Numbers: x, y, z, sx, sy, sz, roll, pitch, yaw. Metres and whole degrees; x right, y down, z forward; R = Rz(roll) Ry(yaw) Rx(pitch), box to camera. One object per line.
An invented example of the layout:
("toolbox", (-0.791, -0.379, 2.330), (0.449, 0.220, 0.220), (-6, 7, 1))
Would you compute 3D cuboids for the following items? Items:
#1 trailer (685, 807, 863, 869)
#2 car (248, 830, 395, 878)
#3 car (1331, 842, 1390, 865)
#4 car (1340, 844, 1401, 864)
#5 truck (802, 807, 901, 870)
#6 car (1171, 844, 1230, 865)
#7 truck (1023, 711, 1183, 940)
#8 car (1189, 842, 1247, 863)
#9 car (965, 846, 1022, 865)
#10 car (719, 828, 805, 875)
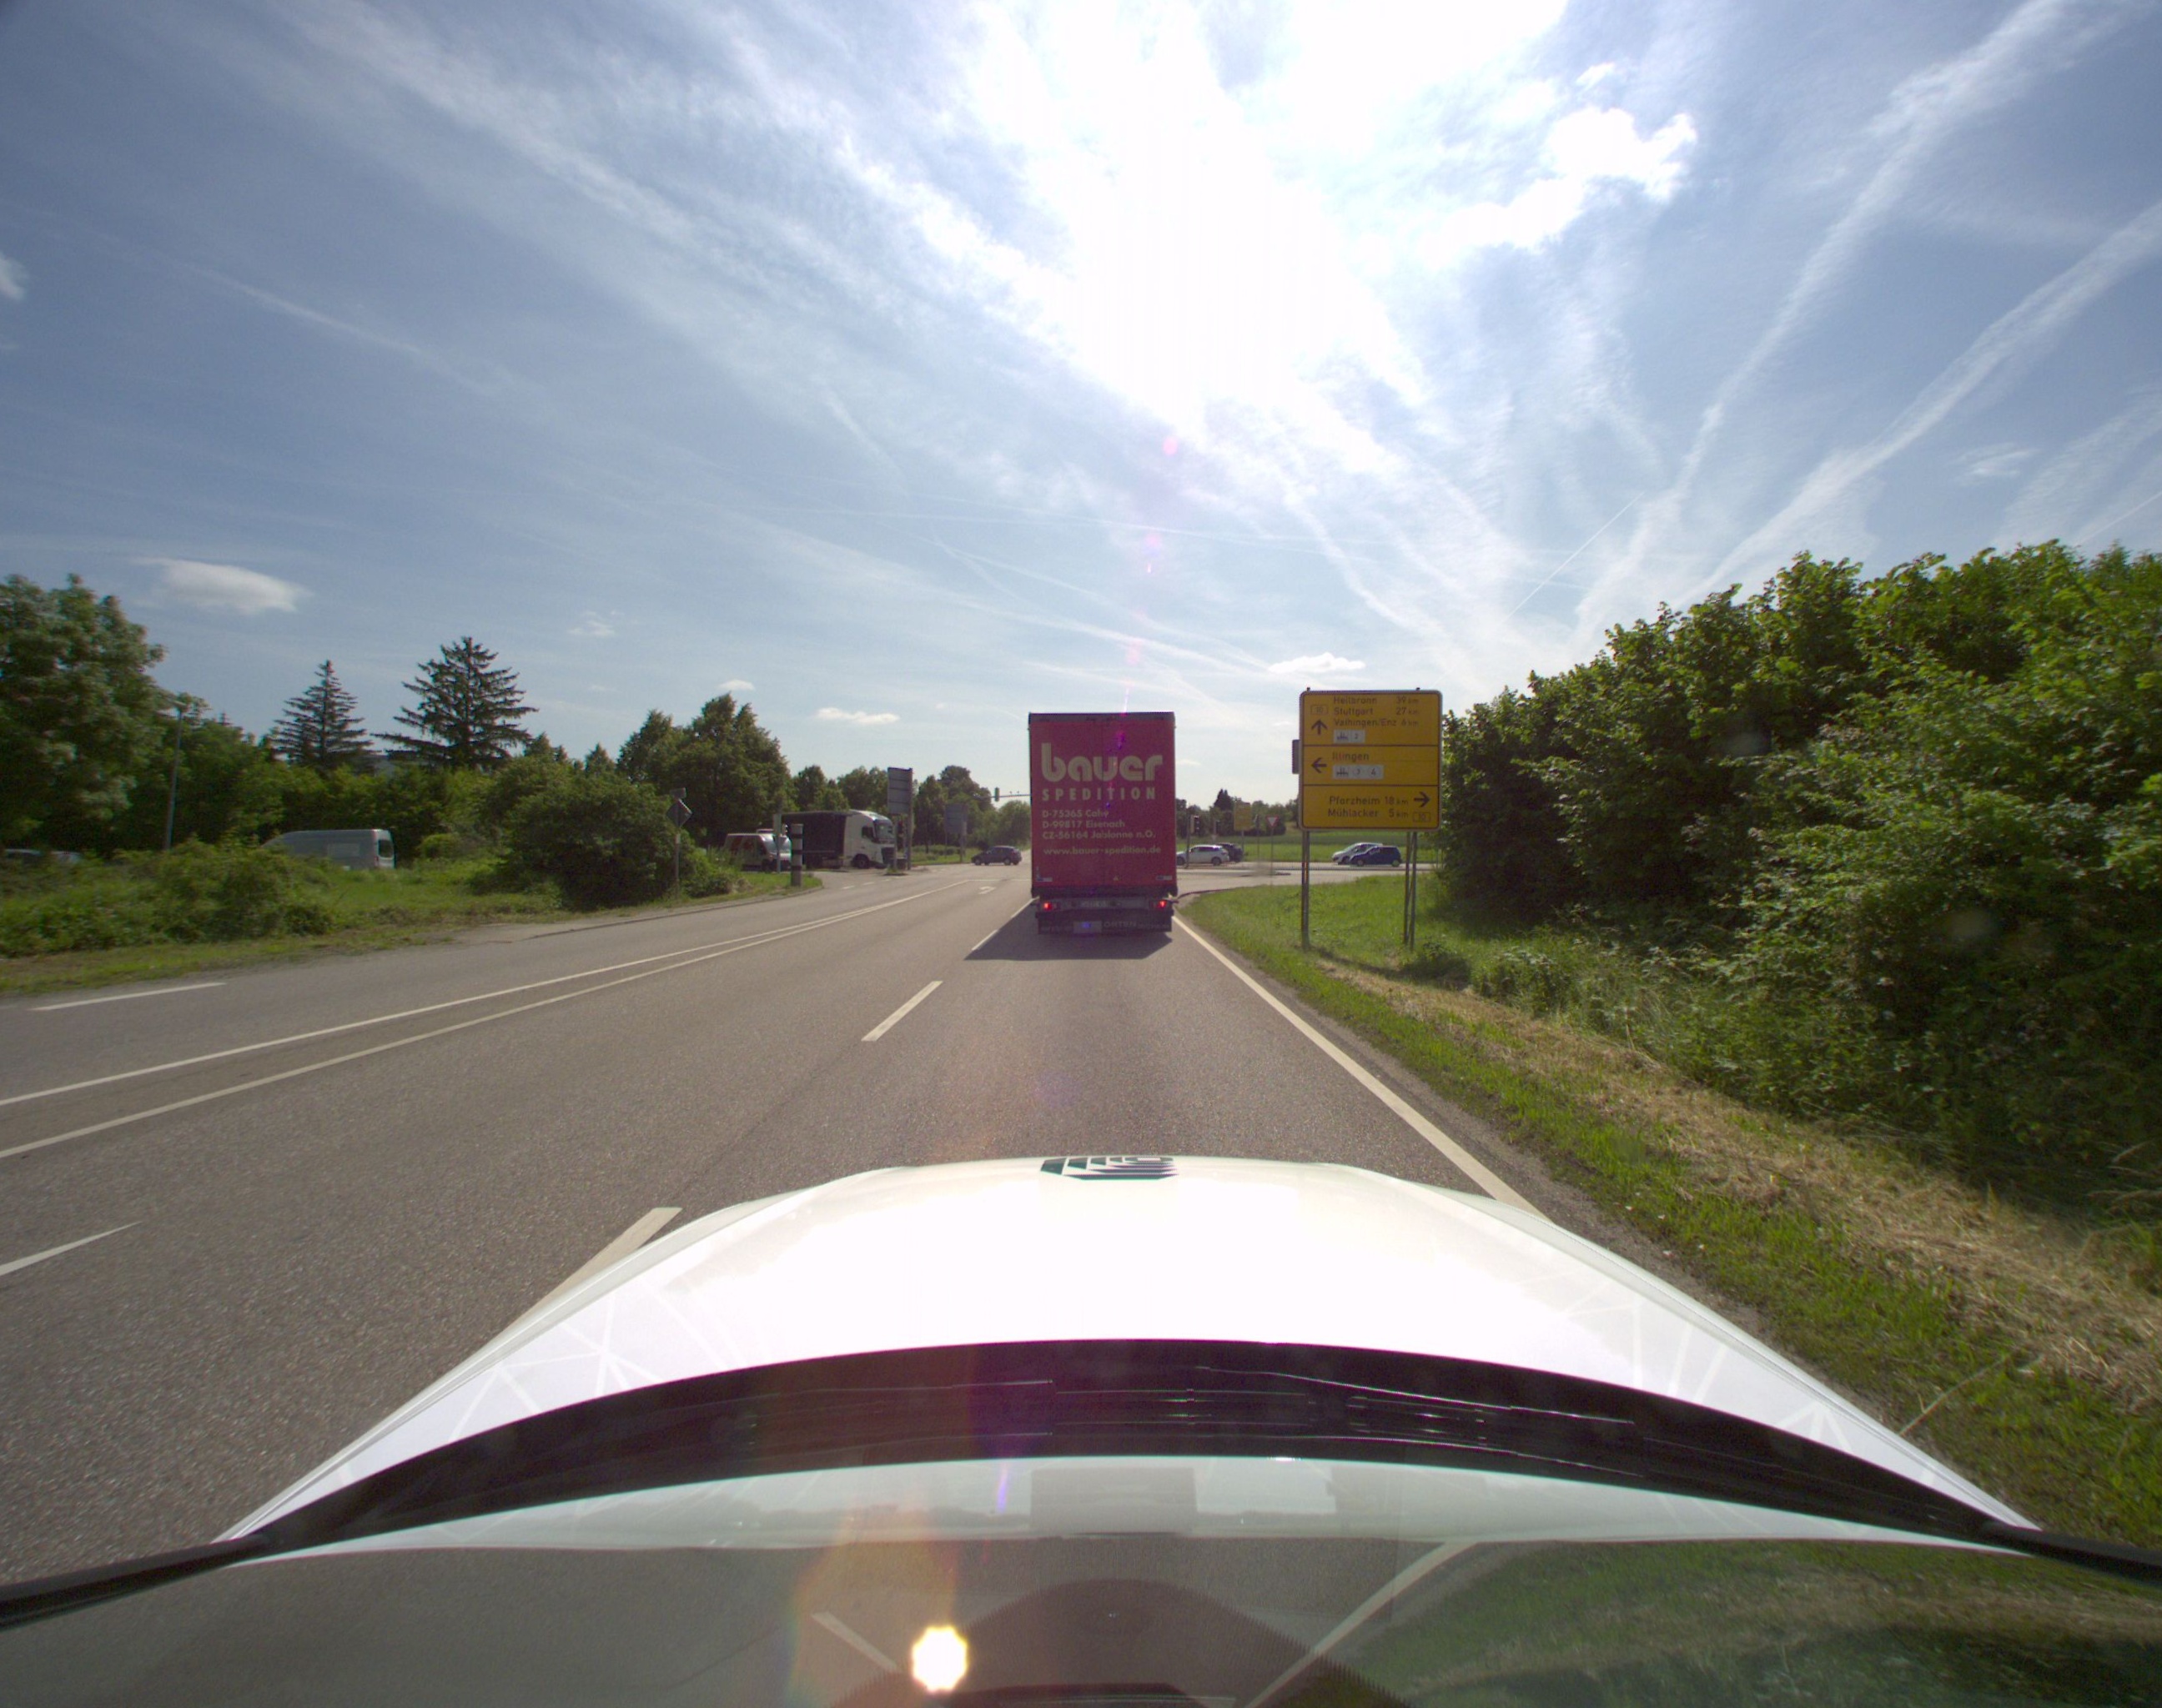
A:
("trailer", (-21.749, -1.098, 57.308), (13.562, 4.061, 2.814), (0, 1, 24))
("car", (-35.644, 0.006, 38.386), (4.601, 2.180, 1.985), (0, 0, -22))
("car", (20.385, -0.041, 59.560), (3.805, 1.633, 1.765), (-1, -1, 8))
("car", (19.971, -0.017, 56.335), (3.820, 1.357, 1.683), (0, 0, 14))
("truck", (-15.411, -1.050, 54.767), (5.777, 4.061, 2.813), (0, 1, 20))
("car", (8.736, 0.043, 59.533), (4.071, 1.547, 1.880), (0, -1, 13))
("truck", (0.495, -0.585, 22.353), (2.725, 3.925, 16.627), (0, 1, 1))
("car", (11.042, -0.084, 65.718), (4.232, 1.656, 1.711), (-1, -1, 36))
("car", (-6.803, 0.101, 63.429), (3.958, 1.429, 2.007), (0, 0, 14))
("car", (-19.425, -0.174, 49.437), (5.909, 2.654, 2.138), (0, 2, 39))
